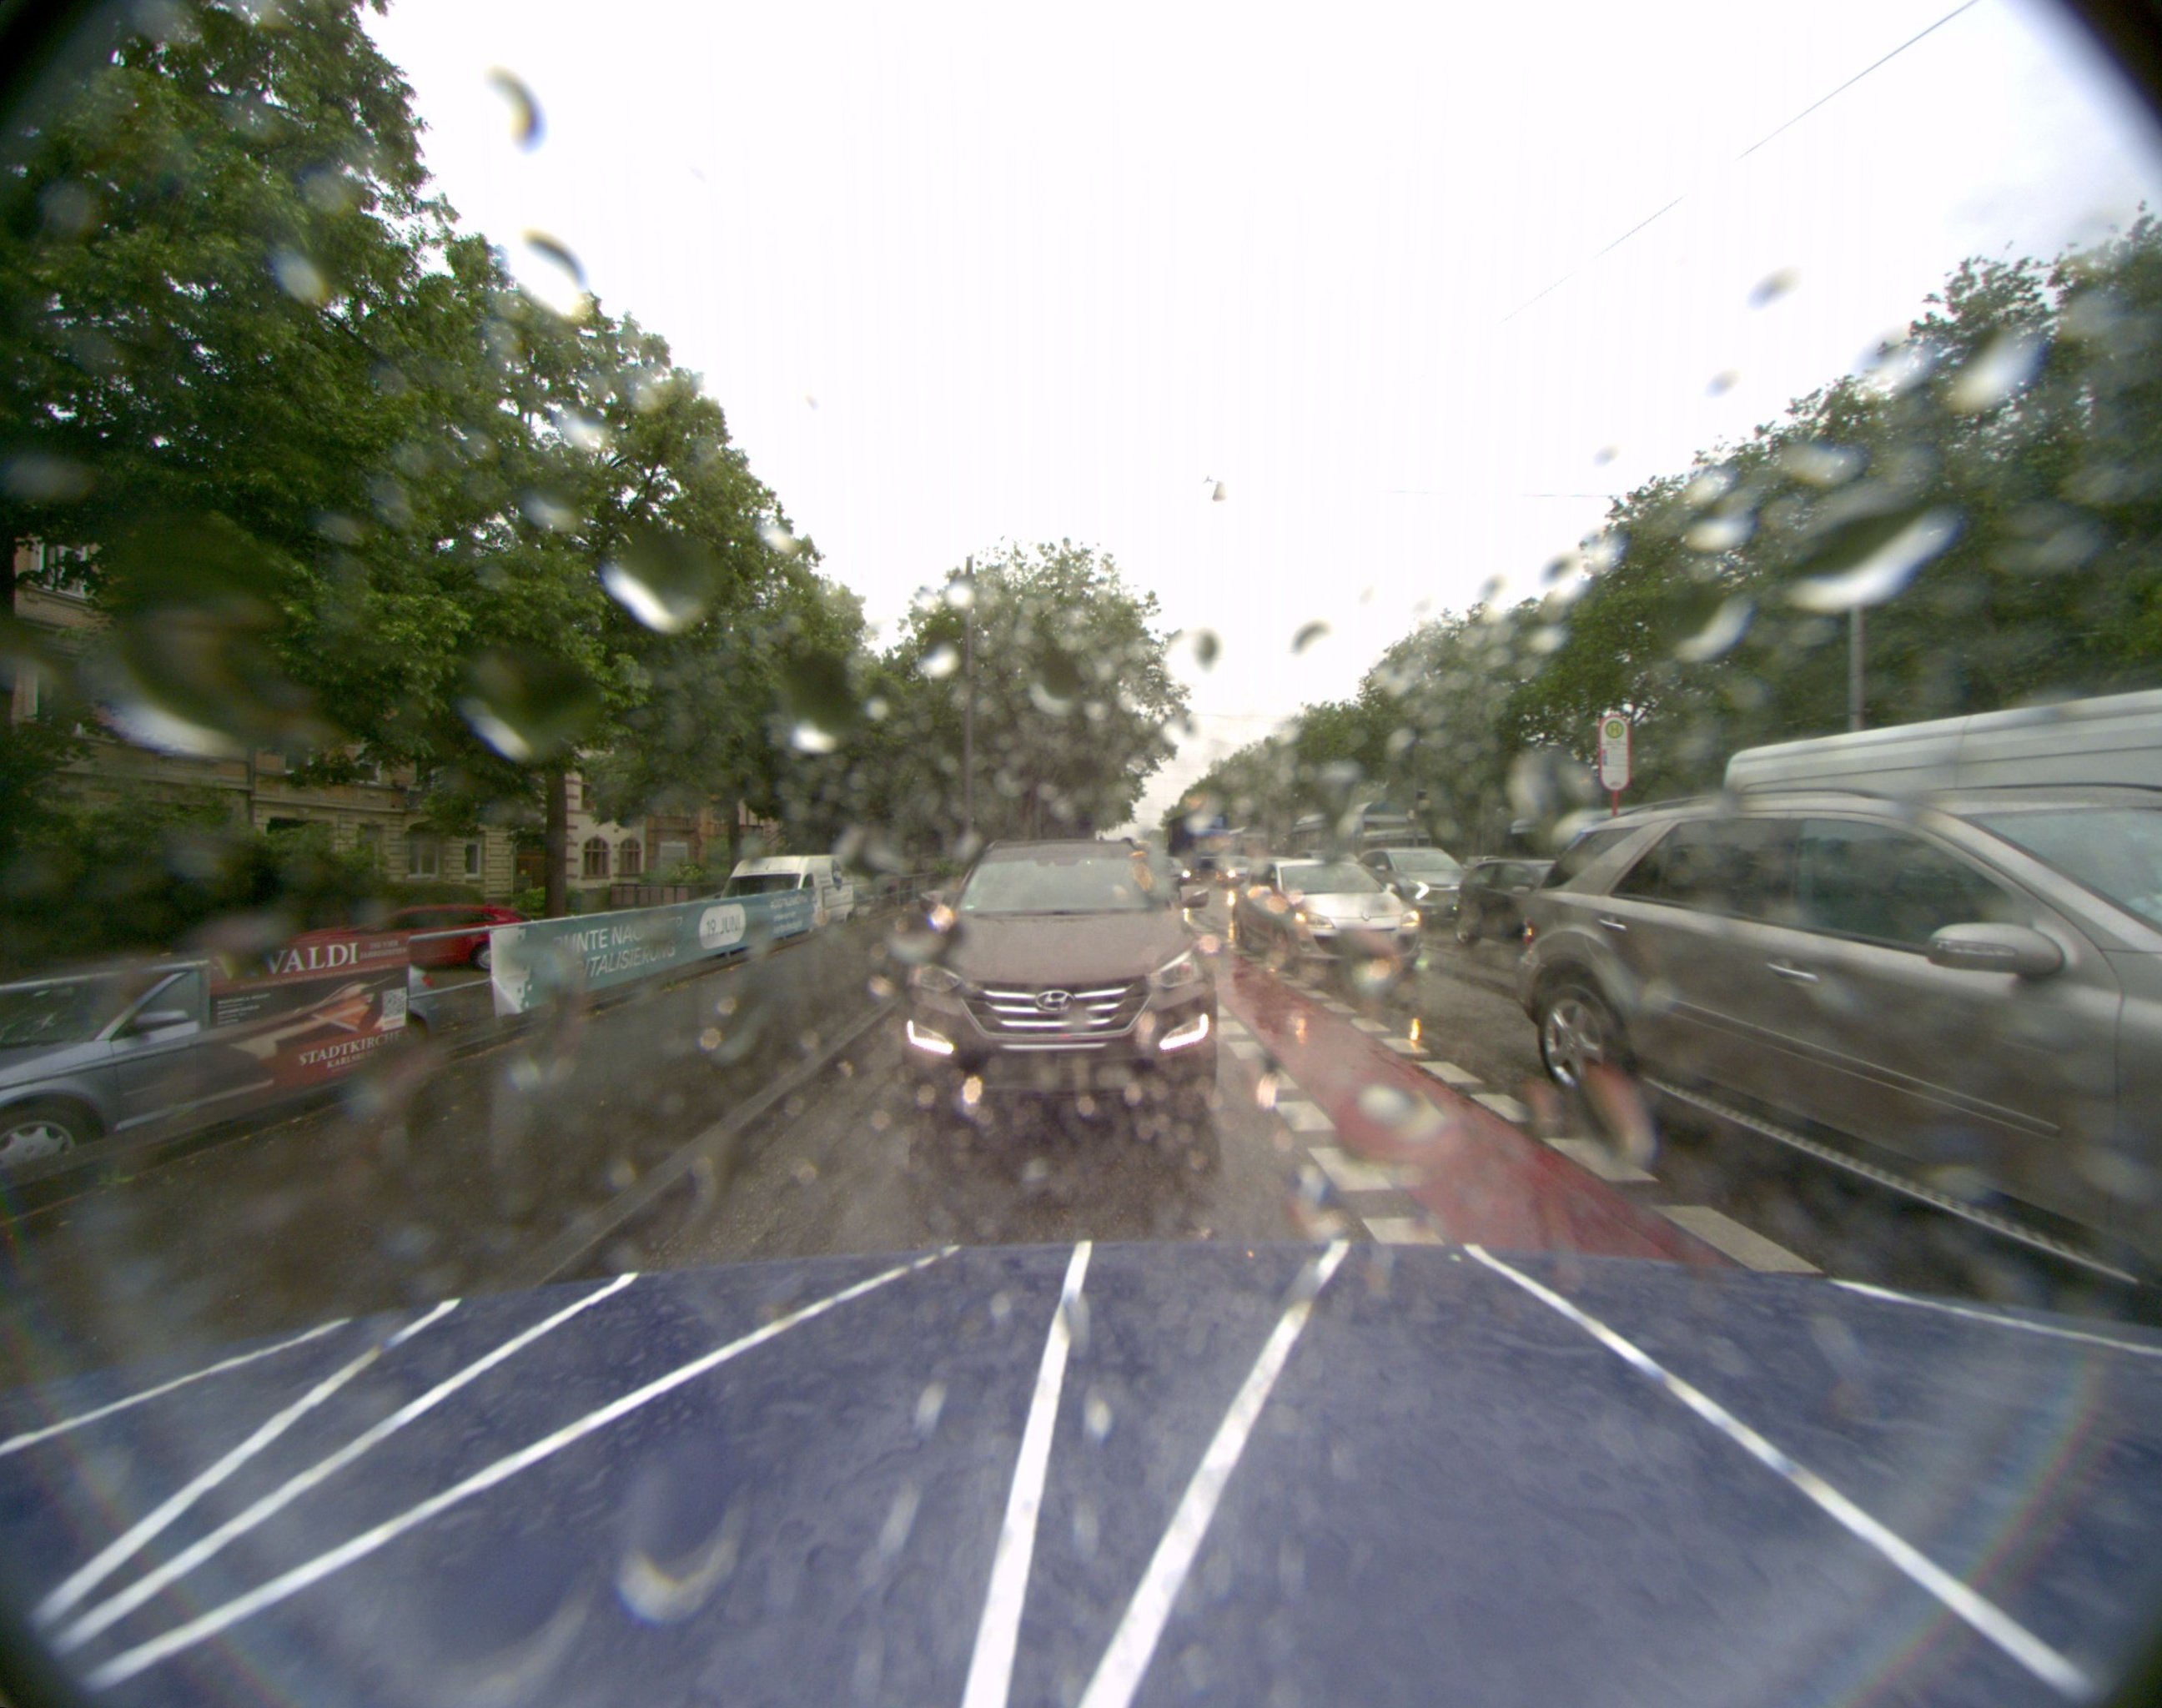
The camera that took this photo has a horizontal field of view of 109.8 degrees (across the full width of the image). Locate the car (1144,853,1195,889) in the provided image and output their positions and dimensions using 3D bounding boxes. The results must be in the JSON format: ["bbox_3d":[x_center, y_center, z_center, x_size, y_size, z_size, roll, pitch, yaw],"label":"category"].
[{"bbox_3d":[4.069,0.742,35.404,1.899,1.569,3.999,0,0,0],"label":"car"}]

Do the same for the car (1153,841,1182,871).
[{"bbox_3d":[7.423,0.127,65.844,1.998,2.412,5.727,-2,0,3],"label":"car"}]

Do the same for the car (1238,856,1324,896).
[{"bbox_3d":[7.521,0.787,29.051,1.999,1.386,4.606,0,0,-1],"label":"car"}]

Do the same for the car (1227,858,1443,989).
[{"bbox_3d":[3.435,0.847,11.115,1.772,1.469,4.000,-2,0,0],"label":"car"}]

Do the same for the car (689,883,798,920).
[{"bbox_3d":[-14.864,2.048,33.490,4.269,1.372,1.687,-1,1,-27],"label":"car"}]

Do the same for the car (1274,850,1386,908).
[{"bbox_3d":[7.563,0.685,23.573,1.999,1.611,4.319,-1,0,-1],"label":"car"}]

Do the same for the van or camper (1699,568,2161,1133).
[{"bbox_3d":[7.058,-0.022,4.373,2.164,3.123,5.850,0,0,-1],"label":"van or camper"}]

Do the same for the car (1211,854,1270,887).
[{"bbox_3d":[7.578,0.739,36.511,1.895,1.478,4.077,-1,0,-1],"label":"car"}]

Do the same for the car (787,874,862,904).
[{"bbox_3d":[-15.727,2.120,46.655,4.006,1.599,1.821,-2,1,-31],"label":"car"}]

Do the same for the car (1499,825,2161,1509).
[{"bbox_3d":[3.788,0.786,2.773,2.030,1.760,4.462,-2,0,0],"label":"car"}]

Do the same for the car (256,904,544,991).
[{"bbox_3d":[-14.630,1.948,16.730,4.439,1.444,1.894,0,-1,-32],"label":"car"}]

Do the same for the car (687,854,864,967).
[{"bbox_3d":[-7.707,1.273,20.086,2.214,2.406,6.157,-2,0,-2],"label":"car"}]

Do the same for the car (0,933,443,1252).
[{"bbox_3d":[-7.237,1.588,5.531,1.736,1.530,4.074,-2,0,-1],"label":"car"}]

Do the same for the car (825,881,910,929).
[{"bbox_3d":[-7.550,1.755,27.326,1.972,1.345,4.383,-3,0,-3],"label":"car"}]

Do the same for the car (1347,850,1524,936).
[{"bbox_3d":[7.486,0.727,16.626,1.919,1.614,4.454,0,0,2],"label":"car"}]

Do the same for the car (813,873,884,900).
[{"bbox_3d":[-15.369,2.121,50.308,4.007,1.557,1.995,-2,1,-34],"label":"car"}]

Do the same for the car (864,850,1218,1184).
[{"bbox_3d":[-0.138,0.829,5.702,1.756,1.657,3.678,-2,0,2],"label":"car"}]

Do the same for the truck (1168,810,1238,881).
[{"bbox_3d":[7.233,-0.488,46.462,2.545,3.866,9.810,1,0,-1],"label":"truck"}]

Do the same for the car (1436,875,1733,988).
[{"bbox_3d":[6.740,0.944,10.759,1.467,1.111,4.087,-2,0,0],"label":"car"}]

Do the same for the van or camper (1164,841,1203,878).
[{"bbox_3d":[7.629,0.383,57.104,1.998,2.555,6.431,-2,0,0],"label":"van or camper"}]

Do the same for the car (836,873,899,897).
[{"bbox_3d":[-15.545,2.237,55.346,4.007,1.455,1.908,-2,1,-34],"label":"car"}]
